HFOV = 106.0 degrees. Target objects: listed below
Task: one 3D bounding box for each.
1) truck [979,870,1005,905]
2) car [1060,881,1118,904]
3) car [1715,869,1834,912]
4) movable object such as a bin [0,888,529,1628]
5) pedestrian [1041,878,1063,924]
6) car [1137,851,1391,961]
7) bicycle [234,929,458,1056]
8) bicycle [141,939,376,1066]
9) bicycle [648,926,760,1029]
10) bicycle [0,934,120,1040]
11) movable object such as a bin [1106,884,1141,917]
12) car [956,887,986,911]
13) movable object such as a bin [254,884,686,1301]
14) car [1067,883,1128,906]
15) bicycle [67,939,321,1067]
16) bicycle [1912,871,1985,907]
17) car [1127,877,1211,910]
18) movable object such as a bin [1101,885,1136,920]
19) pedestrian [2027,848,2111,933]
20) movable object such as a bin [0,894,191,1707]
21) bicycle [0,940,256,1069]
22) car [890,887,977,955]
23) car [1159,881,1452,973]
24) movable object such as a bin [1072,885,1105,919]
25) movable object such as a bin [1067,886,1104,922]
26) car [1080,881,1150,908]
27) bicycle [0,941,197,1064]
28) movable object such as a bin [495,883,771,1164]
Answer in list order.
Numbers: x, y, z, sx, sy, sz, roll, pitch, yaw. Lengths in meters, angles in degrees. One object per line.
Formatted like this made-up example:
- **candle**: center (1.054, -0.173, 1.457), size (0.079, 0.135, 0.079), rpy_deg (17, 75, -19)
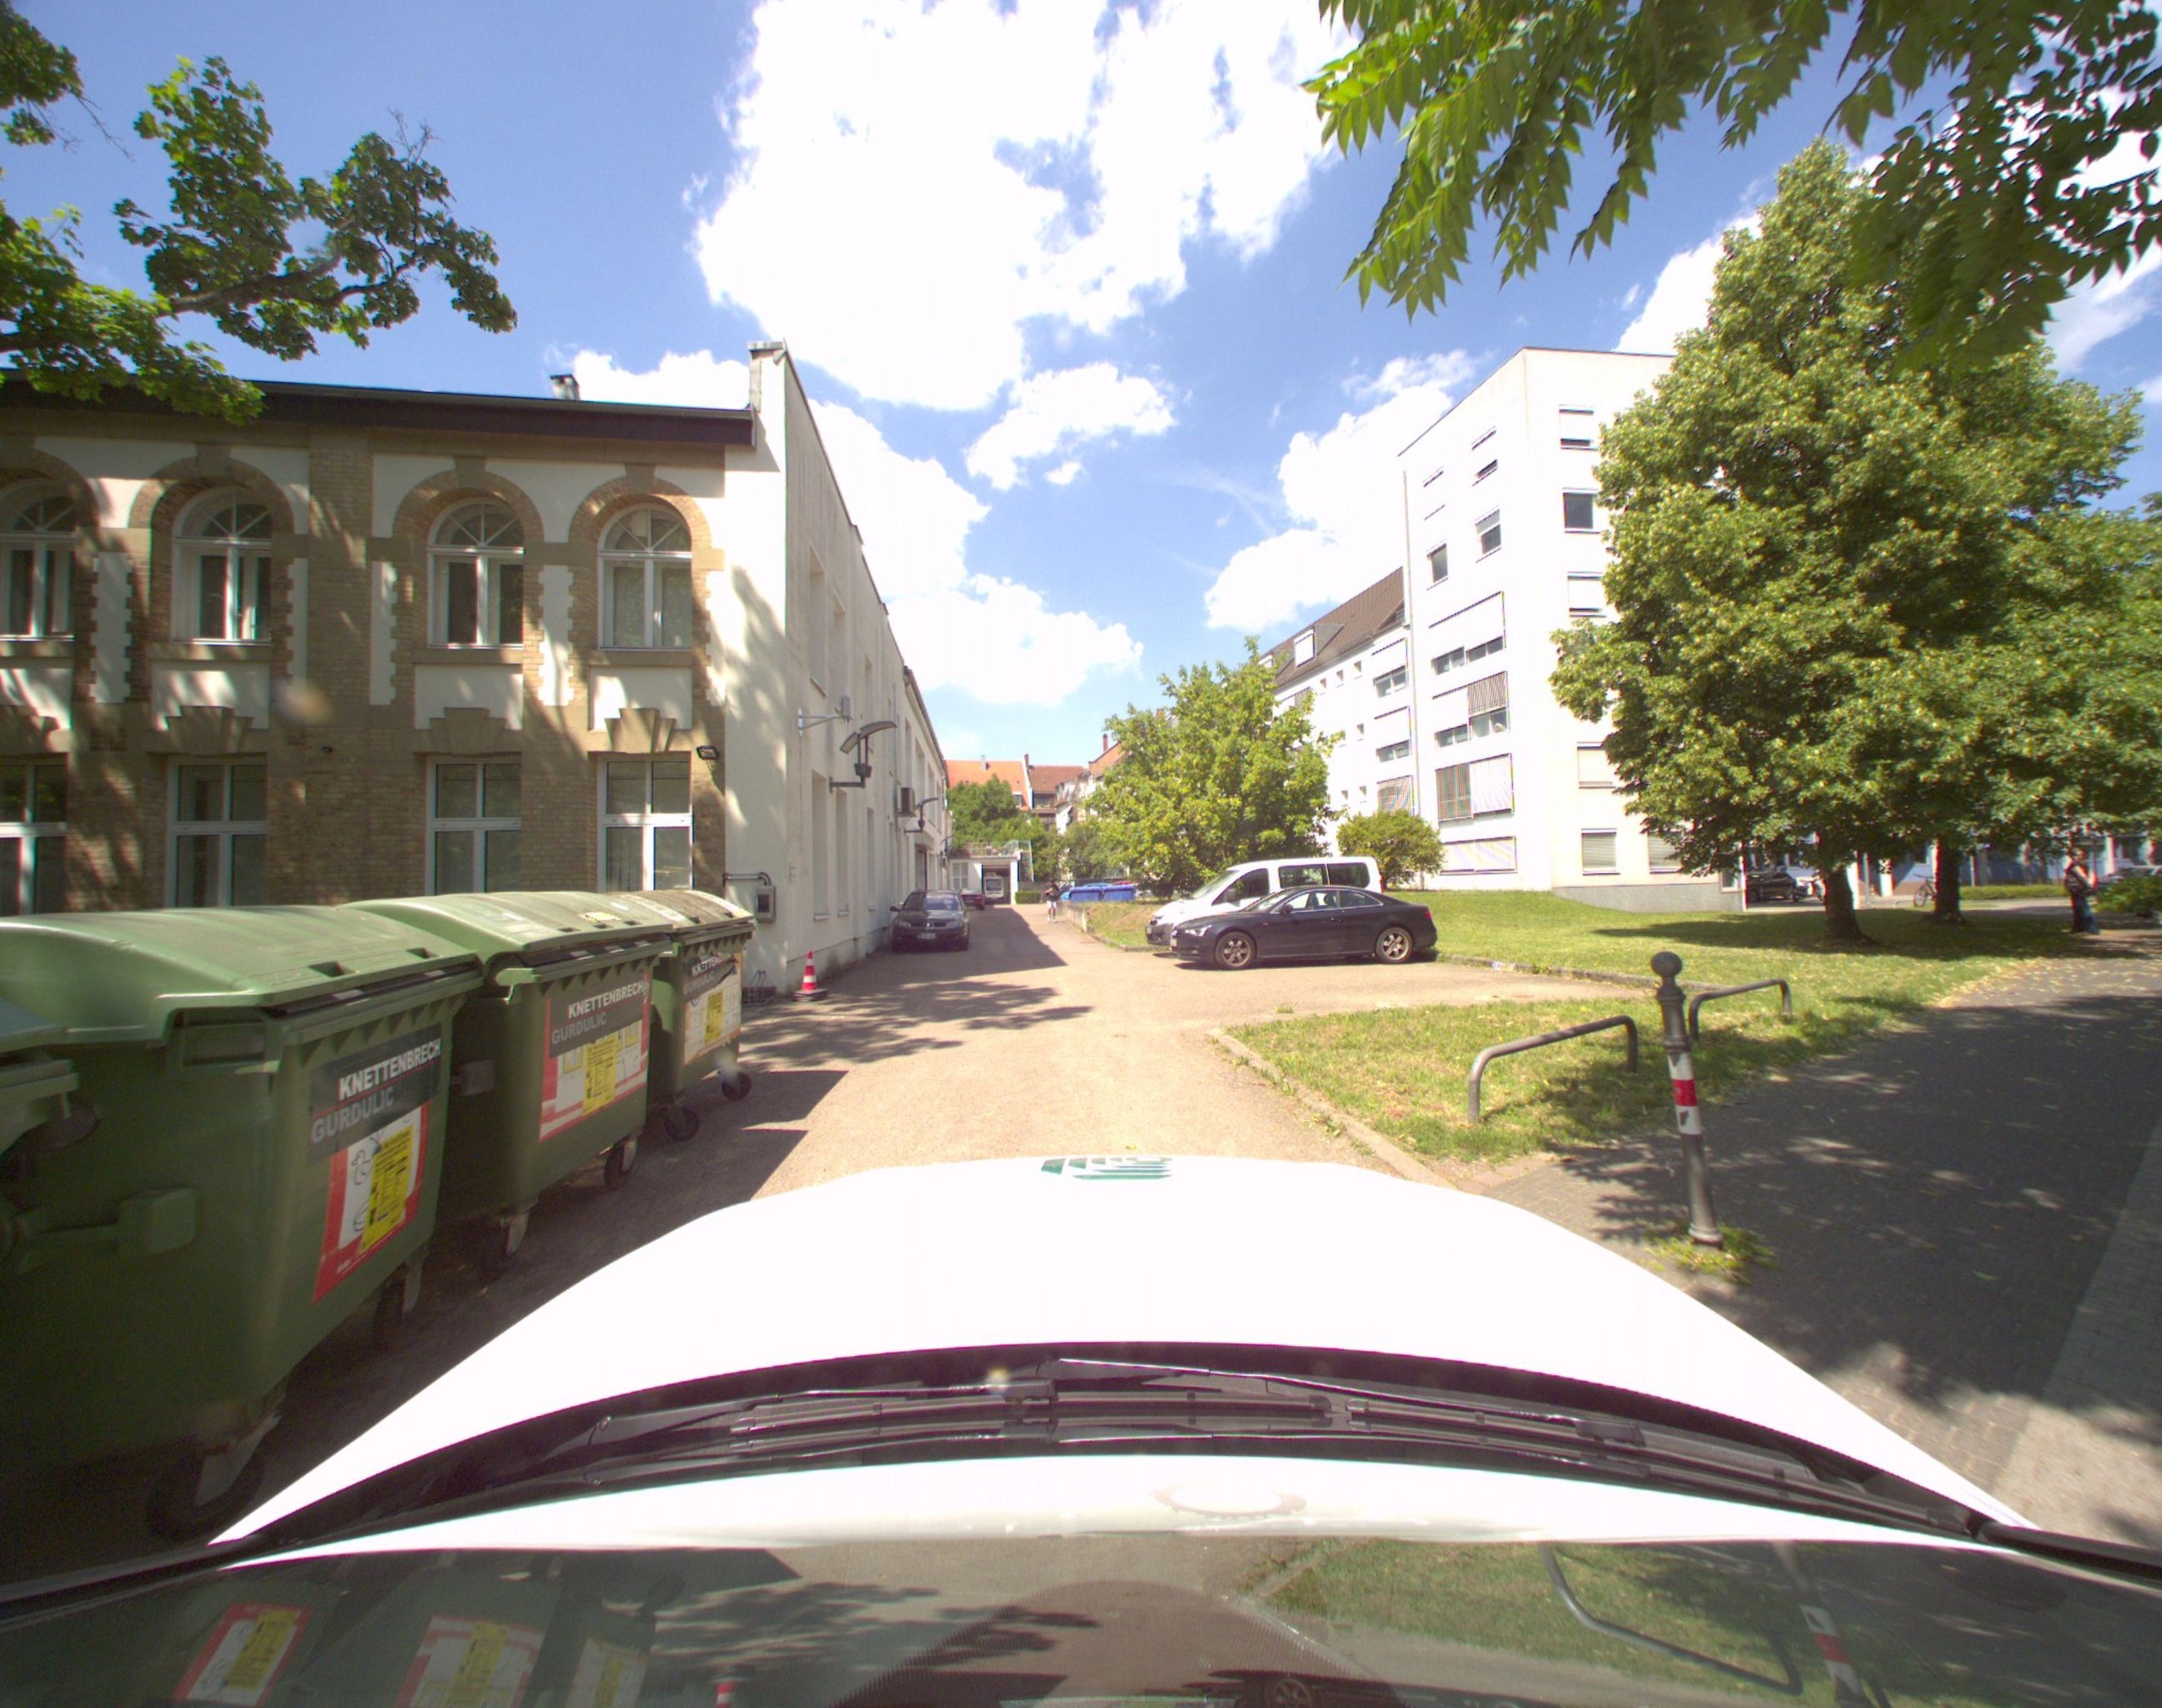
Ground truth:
- **truck**: center (-7.747, 2.895, 70.731), size (1.789, 2.937, 4.633), rpy_deg (-1, -2, -12)
- **car**: center (0.533, 2.820, 59.637), size (3.985, 1.534, 1.799), rpy_deg (-2, -2, -9)
- **car**: center (28.424, 1.470, 33.445), size (3.613, 1.621, 1.669), rpy_deg (-1, -2, -7)
- **movable object such as a bin**: center (-2.448, 0.855, 2.308), size (1.096, 1.479, 1.352), rpy_deg (-1, -2, -17)
- **pedestrian**: center (-1.135, 1.815, 31.769), size (0.756, 1.755, 0.750), rpy_deg (-2, -2, -6)
- **car**: center (3.712, 1.041, 17.034), size (4.755, 2.014, 1.995), rpy_deg (-1, -3, -7)
- **bicycle**: center (-8.071, 1.460, 9.119), size (0.604, 1.082, 2.255), rpy_deg (-1, -2, -5)
- **bicycle**: center (-8.799, 1.527, 8.882), size (0.605, 1.011, 2.251), rpy_deg (-1, -2, -10)
- **bicycle**: center (-4.330, 1.378, 9.489), size (0.611, 0.958, 1.727), rpy_deg (-1, -2, -5)
- **bicycle**: center (-11.503, 1.431, 8.490), size (0.605, 1.011, 2.251), rpy_deg (-1, -2, -10)
- **movable object such as a bin**: center (1.785, 1.944, 34.170), size (1.216, 1.327, 1.157), rpy_deg (-2, -2, -9)
- **car**: center (-6.960, 2.845, 51.650), size (1.797, 1.390, 3.989), rpy_deg (-2, -2, -7)
- **movable object such as a bin**: center (-2.586, 0.896, 3.686), size (1.043, 1.479, 1.259), rpy_deg (-2, -2, -6)
- **car**: center (1.131, 2.796, 56.715), size (3.985, 1.390, 1.799), rpy_deg (-2, -2, -9)
- **bicycle**: center (-9.458, 1.528, 8.851), size (0.605, 1.011, 2.251), rpy_deg (-1, -2, -10)
- **bicycle**: center (27.957, 1.129, 26.247), size (1.933, 1.084, 0.599), rpy_deg (-1, -2, -9)
- **car**: center (4.521, 2.028, 42.141), size (3.985, 1.479, 1.799), rpy_deg (-2, -2, -9)
- **movable object such as a bin**: center (1.487, 1.912, 32.462), size (1.214, 1.327, 1.158), rpy_deg (-2, -2, -5)
- **pedestrian**: center (18.948, 0.694, 15.625), size (0.749, 1.564, 0.737), rpy_deg (-1, -2, -17)
- **movable object such as a bin**: center (-2.368, 0.817, 0.956), size (1.204, 1.479, 1.320), rpy_deg (-2, -2, -10)
- **bicycle**: center (-10.109, 1.520, 8.706), size (0.605, 1.011, 2.251), rpy_deg (-1, -2, -10)
- **car**: center (-3.572, 1.581, 20.340), size (1.752, 1.430, 4.377), rpy_deg (-1, -2, -6)
- **car**: center (3.827, 1.218, 14.297), size (4.607, 1.352, 1.829), rpy_deg (-1, -2, -7)
- **movable object such as a bin**: center (0.294, 1.999, 34.033), size (1.192, 1.327, 1.157), rpy_deg (-2, -2, -9)
- **movable object such as a bin**: center (0.158, 1.959, 32.270), size (1.336, 1.327, 1.158), rpy_deg (-2, -2, -5)
- **car**: center (2.054, 2.493, 50.163), size (3.985, 1.479, 1.799), rpy_deg (-2, -2, -9)
- **bicycle**: center (-10.757, 1.531, 8.647), size (0.605, 1.011, 2.251), rpy_deg (-1, -2, -10)
- **movable object such as a bin**: center (-2.719, 0.939, 5.169), size (1.043, 1.479, 1.407), rpy_deg (-2, -2, -6)
